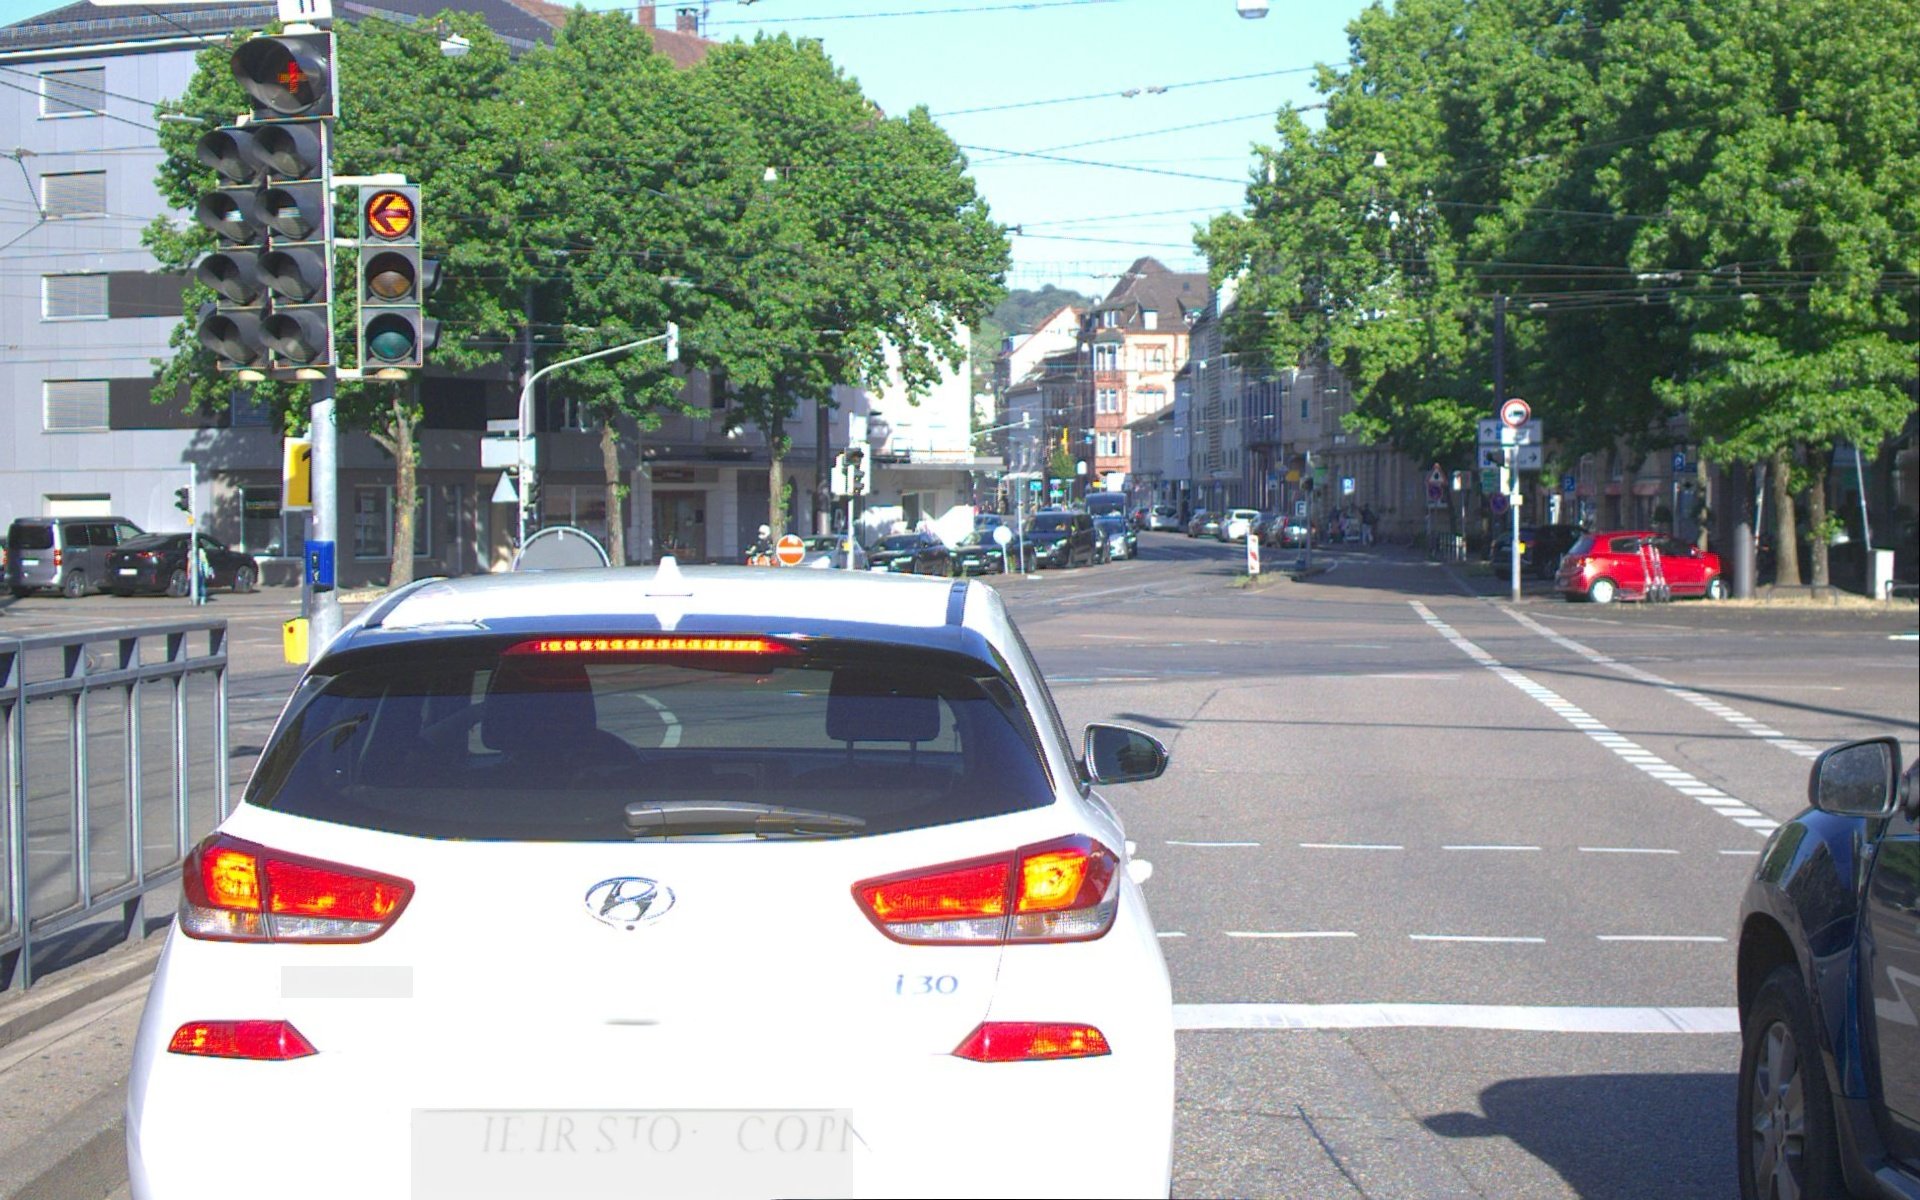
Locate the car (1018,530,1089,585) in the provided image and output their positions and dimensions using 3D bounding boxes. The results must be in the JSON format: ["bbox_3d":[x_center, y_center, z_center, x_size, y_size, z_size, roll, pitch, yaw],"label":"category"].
[{"bbox_3d":[3.155,-1.442,115.441,1.795,1.820,3.998,0,1,10],"label":"car"}]

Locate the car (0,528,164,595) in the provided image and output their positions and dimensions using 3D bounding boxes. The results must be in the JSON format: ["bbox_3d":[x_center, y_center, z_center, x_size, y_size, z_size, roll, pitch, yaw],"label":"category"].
[{"bbox_3d":[-21.943,-0.977,85.877,1.797,1.643,4.004,1,1,29],"label":"car"}]

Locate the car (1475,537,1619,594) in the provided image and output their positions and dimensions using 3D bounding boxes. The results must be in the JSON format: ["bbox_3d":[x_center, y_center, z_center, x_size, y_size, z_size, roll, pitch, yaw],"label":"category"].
[{"bbox_3d":[16.035,-0.959,93.855,3.989,1.505,1.799,-1,1,-42],"label":"car"}]

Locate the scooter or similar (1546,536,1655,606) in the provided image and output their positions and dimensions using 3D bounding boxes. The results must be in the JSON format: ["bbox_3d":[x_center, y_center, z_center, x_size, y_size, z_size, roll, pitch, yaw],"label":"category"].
[{"bbox_3d":[11.783,-0.544,63.284,1.949,1.276,0.552,1,1,41],"label":"scooter or similar"}]

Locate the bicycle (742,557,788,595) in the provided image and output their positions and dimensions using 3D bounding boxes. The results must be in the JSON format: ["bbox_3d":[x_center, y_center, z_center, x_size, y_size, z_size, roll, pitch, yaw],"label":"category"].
[{"bbox_3d":[-5.070,-0.633,89.615,0.468,0.953,1.765,0,1,23],"label":"bicycle"}]

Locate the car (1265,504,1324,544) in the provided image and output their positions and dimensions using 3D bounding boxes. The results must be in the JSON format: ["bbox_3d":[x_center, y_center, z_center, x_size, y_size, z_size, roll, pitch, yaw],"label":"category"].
[{"bbox_3d":[14.744,-3.348,151.707,2.105,1.770,4.342,0,1,-1],"label":"car"}]

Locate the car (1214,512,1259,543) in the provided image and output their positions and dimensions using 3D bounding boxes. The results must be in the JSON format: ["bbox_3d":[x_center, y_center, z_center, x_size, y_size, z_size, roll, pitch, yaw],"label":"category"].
[{"bbox_3d":[13.200,-3.463,164.329,1.794,1.505,4.000,0,1,-1],"label":"car"}]

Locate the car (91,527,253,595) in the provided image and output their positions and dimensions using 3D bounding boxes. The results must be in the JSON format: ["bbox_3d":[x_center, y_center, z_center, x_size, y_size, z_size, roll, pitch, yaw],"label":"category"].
[{"bbox_3d":[-19.482,-0.976,85.163,1.923,1.643,4.176,0,1,20],"label":"car"}]

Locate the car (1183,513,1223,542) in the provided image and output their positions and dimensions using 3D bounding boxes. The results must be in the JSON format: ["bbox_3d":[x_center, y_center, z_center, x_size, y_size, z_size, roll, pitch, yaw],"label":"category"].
[{"bbox_3d":[12.970,-3.850,183.565,1.794,1.517,4.000,0,1,-1],"label":"car"}]

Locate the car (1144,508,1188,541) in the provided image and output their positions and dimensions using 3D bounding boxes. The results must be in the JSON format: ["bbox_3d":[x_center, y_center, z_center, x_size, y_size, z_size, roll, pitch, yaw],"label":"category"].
[{"bbox_3d":[12.468,-4.583,208.580,2.327,2.007,4.977,0,1,-1],"label":"car"}]

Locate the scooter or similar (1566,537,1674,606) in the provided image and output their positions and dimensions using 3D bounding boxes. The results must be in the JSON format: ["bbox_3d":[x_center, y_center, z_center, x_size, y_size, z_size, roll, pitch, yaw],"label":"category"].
[{"bbox_3d":[12.244,-0.539,63.833,1.949,1.276,0.552,1,1,41],"label":"scooter or similar"}]

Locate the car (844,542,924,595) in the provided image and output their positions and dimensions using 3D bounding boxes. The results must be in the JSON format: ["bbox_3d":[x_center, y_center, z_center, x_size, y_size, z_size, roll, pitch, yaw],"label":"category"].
[{"bbox_3d":[-2.199,-0.920,99.968,1.794,1.505,3.999,0,0,7],"label":"car"}]

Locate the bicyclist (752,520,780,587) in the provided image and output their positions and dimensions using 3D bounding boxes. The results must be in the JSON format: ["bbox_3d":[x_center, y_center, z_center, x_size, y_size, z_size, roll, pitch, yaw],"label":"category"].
[{"bbox_3d":[-5.049,-1.218,89.653,0.468,1.739,0.716,0,1,23],"label":"bicyclist"}]

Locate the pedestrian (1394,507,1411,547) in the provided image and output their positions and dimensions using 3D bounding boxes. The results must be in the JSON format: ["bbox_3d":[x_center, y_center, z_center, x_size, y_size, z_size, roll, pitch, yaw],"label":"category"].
[{"bbox_3d":[18.439,-3.021,143.202,0.648,1.645,0.650,1,0,10],"label":"pedestrian"}]

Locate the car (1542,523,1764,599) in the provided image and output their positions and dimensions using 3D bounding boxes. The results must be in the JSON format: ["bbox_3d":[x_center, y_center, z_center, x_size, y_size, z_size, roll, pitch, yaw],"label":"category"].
[{"bbox_3d":[13.905,-0.790,69.081,3.986,1.505,1.801,0,1,-8],"label":"car"}]

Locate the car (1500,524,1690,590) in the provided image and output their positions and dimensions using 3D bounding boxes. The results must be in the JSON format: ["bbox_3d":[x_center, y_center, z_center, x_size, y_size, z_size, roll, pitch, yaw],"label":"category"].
[{"bbox_3d":[14.698,-0.997,79.644,3.986,1.505,1.800,0,1,-6],"label":"car"}]

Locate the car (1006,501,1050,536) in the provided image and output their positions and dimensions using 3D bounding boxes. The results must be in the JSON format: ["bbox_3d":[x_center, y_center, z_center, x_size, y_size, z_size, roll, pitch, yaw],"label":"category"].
[{"bbox_3d":[3.008,-3.619,152.944,1.794,1.505,4.000,0,1,-2],"label":"car"}]

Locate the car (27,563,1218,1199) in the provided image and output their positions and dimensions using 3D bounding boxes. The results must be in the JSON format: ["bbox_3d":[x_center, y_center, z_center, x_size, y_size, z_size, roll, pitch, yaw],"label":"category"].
[{"bbox_3d":[-0.550,0.668,7.255,1.808,1.447,4.000,1,1,-1],"label":"car"}]

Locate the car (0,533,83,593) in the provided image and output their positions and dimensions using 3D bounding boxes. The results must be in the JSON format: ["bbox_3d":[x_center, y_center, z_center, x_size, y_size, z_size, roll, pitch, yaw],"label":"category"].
[{"bbox_3d":[-24.323,-0.967,87.901,1.796,1.505,4.006,0,1,18],"label":"car"}]

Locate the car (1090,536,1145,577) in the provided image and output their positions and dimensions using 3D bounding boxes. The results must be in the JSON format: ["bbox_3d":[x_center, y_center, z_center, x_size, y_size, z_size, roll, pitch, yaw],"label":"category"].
[{"bbox_3d":[5.929,-1.653,130.050,1.794,1.505,4.000,0,1,-2],"label":"car"}]

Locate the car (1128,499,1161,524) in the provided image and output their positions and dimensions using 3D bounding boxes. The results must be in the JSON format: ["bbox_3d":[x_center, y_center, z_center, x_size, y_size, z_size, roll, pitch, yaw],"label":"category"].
[{"bbox_3d":[11.473,-5.520,214.037,1.794,1.505,4.000,0,1,-1],"label":"car"}]

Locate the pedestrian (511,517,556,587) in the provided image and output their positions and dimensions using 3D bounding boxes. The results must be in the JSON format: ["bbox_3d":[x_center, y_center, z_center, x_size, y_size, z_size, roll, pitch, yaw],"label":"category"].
[{"bbox_3d":[-10.803,-1.209,87.030,0.837,1.765,0.781,0,1,25],"label":"pedestrian"}]

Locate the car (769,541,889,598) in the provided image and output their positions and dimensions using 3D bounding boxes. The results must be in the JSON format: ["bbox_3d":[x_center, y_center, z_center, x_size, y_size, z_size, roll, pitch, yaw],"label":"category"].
[{"bbox_3d":[-3.558,-0.829,93.981,1.726,1.505,3.871,0,0,25],"label":"car"}]

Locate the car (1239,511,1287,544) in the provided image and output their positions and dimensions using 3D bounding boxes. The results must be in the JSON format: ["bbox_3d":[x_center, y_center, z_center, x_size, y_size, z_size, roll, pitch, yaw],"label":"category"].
[{"bbox_3d":[13.929,-3.327,158.167,1.794,1.505,4.000,0,1,-1],"label":"car"}]

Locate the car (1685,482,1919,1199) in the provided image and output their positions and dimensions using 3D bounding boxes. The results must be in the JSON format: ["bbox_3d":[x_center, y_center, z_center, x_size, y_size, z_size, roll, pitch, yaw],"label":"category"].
[{"bbox_3d":[2.502,0.632,5.393,1.800,1.632,4.045,0,1,-1],"label":"car"}]

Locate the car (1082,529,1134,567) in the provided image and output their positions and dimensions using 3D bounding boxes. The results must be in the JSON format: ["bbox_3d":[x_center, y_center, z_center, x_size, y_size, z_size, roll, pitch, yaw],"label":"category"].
[{"bbox_3d":[5.921,-2.080,138.031,1.794,1.505,4.000,0,1,-2],"label":"car"}]

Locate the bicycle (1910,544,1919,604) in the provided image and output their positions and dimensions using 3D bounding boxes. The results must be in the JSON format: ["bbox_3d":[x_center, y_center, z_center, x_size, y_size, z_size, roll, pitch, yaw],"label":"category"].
[{"bbox_3d":[17.820,-0.472,62.719,0.609,1.104,1.800,0,1,4],"label":"bicycle"}]

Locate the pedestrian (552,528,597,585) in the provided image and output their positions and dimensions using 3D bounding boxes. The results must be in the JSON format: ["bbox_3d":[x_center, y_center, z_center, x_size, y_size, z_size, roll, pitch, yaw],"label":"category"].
[{"bbox_3d":[-9.970,-1.129,88.943,0.803,1.479,0.861,0,1,26],"label":"pedestrian"}]

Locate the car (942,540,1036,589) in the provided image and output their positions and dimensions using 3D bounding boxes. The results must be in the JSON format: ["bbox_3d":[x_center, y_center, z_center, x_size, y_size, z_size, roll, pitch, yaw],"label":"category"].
[{"bbox_3d":[0.923,-1.098,108.017,1.796,1.505,3.996,0,0,19],"label":"car"}]
